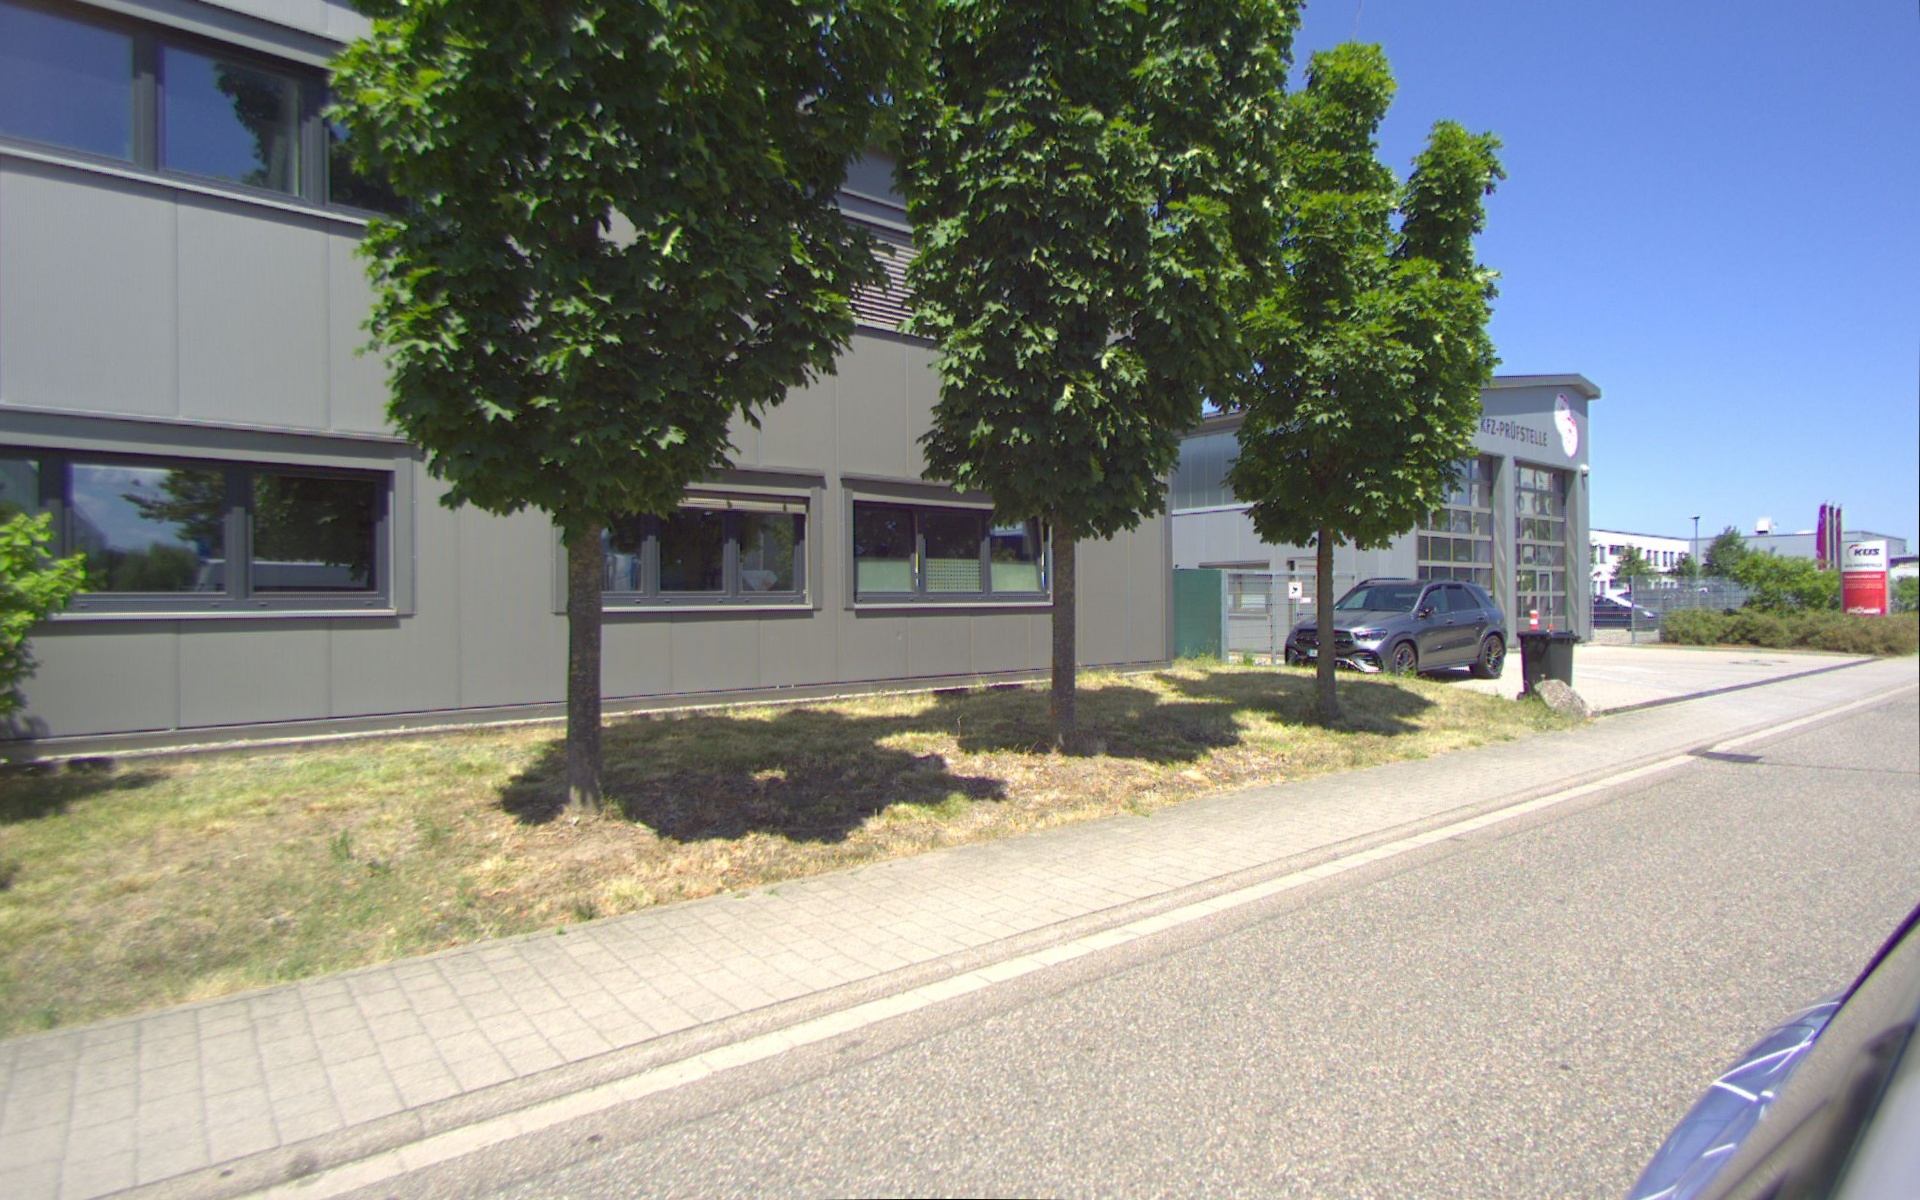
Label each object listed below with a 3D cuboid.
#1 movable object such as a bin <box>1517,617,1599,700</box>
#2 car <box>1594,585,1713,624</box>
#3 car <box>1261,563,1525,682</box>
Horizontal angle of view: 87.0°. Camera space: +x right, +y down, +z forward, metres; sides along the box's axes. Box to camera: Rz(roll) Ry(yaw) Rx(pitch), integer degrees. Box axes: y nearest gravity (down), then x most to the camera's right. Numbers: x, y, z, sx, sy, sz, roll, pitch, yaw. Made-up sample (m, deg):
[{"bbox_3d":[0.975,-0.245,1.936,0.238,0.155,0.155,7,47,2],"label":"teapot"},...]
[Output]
[{"bbox_3d":[8.111,0.769,13.728,0.793,1.059,0.618,-1,0,-26],"label":"movable object such as a bin"},{"bbox_3d":[25.857,0.170,37.808,1.763,1.387,3.353,0,-1,-43],"label":"car"},{"bbox_3d":[7.693,0.286,17.817,4.823,1.833,2.158,-1,1,-37],"label":"car"}]
